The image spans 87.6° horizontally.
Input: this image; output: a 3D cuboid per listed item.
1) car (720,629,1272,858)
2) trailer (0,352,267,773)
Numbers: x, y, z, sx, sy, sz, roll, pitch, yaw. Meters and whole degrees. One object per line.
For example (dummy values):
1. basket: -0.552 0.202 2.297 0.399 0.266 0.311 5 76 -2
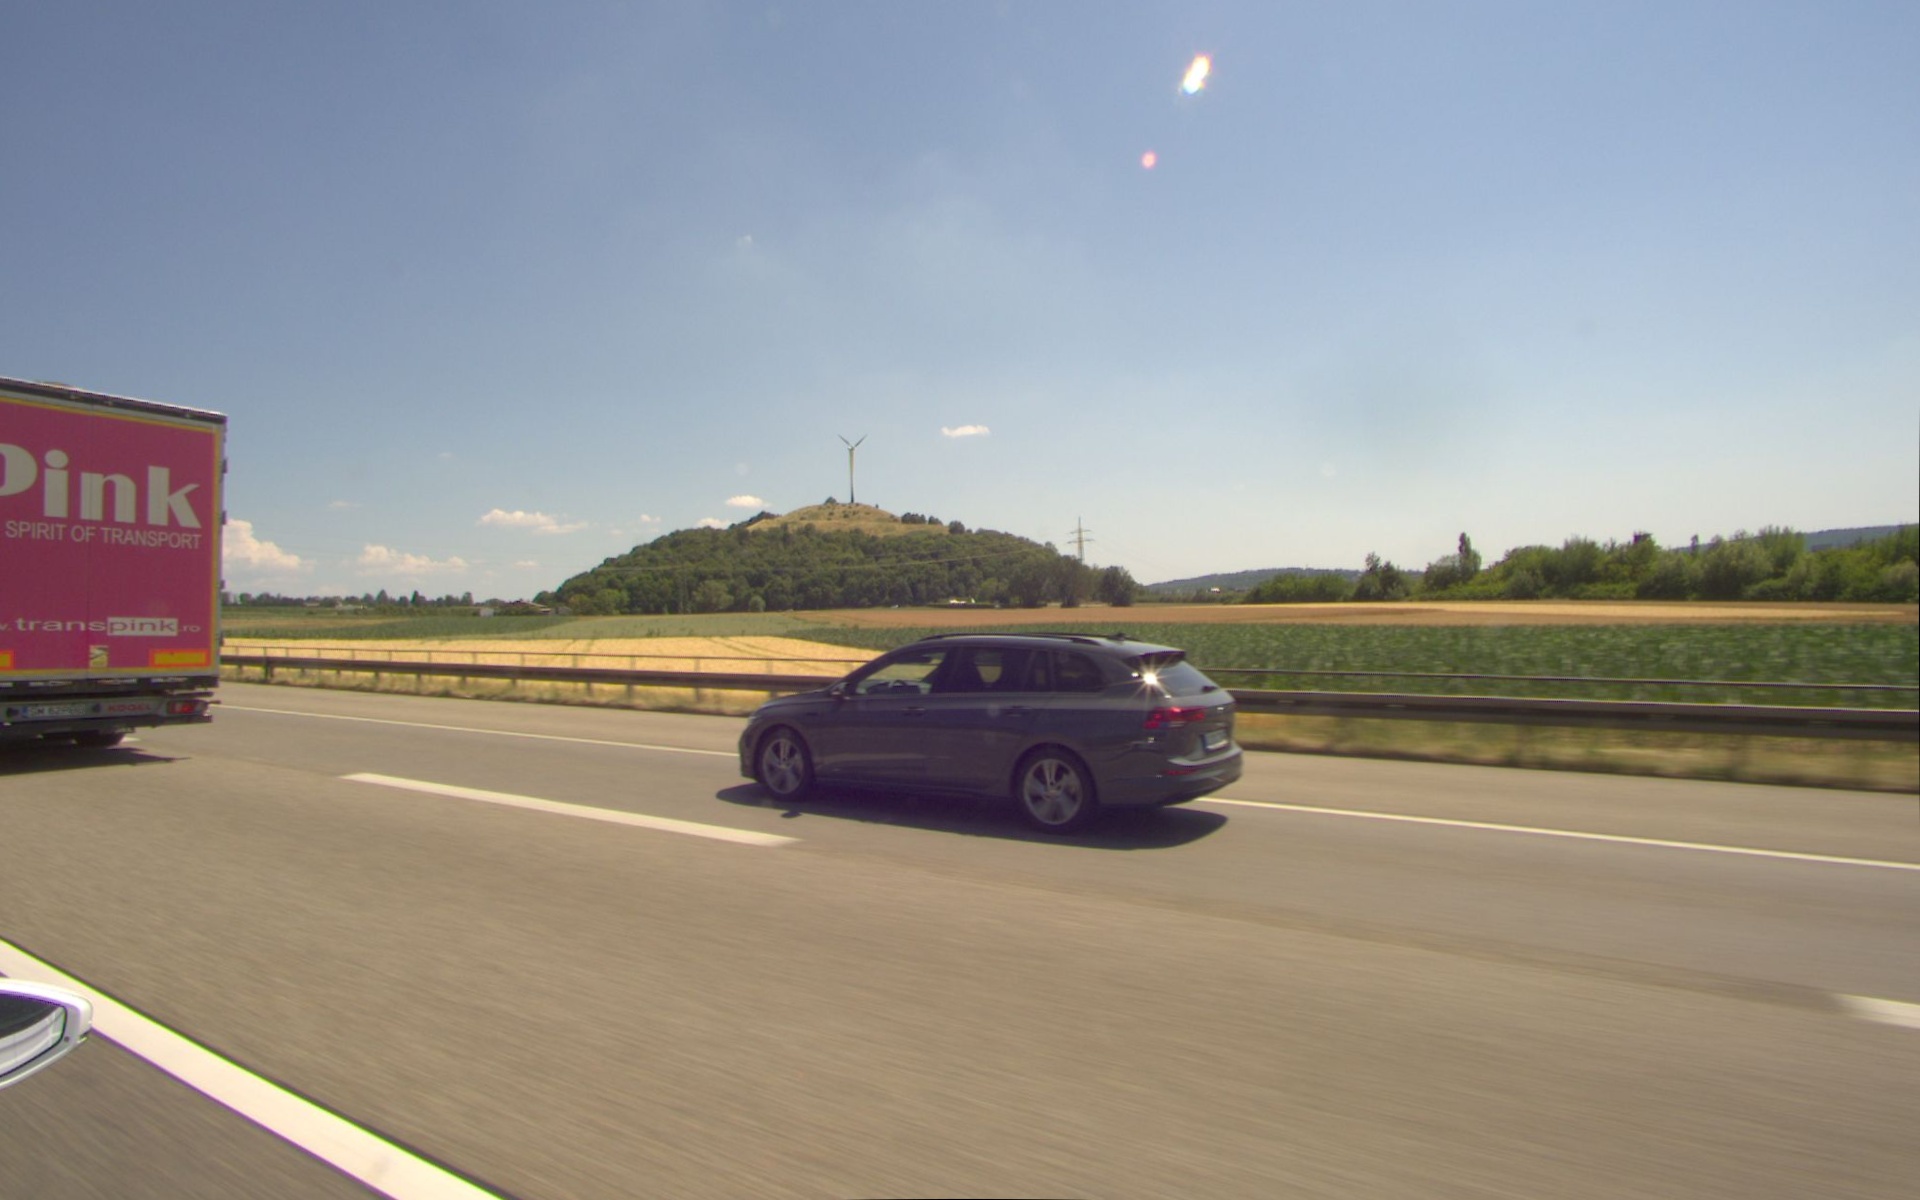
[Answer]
1. car: 0.182 1.006 8.572 4.472 1.490 1.758 -1 -2 33
2. trailer: -14.753 -0.263 14.392 13.663 4.170 2.913 -1 -2 33
